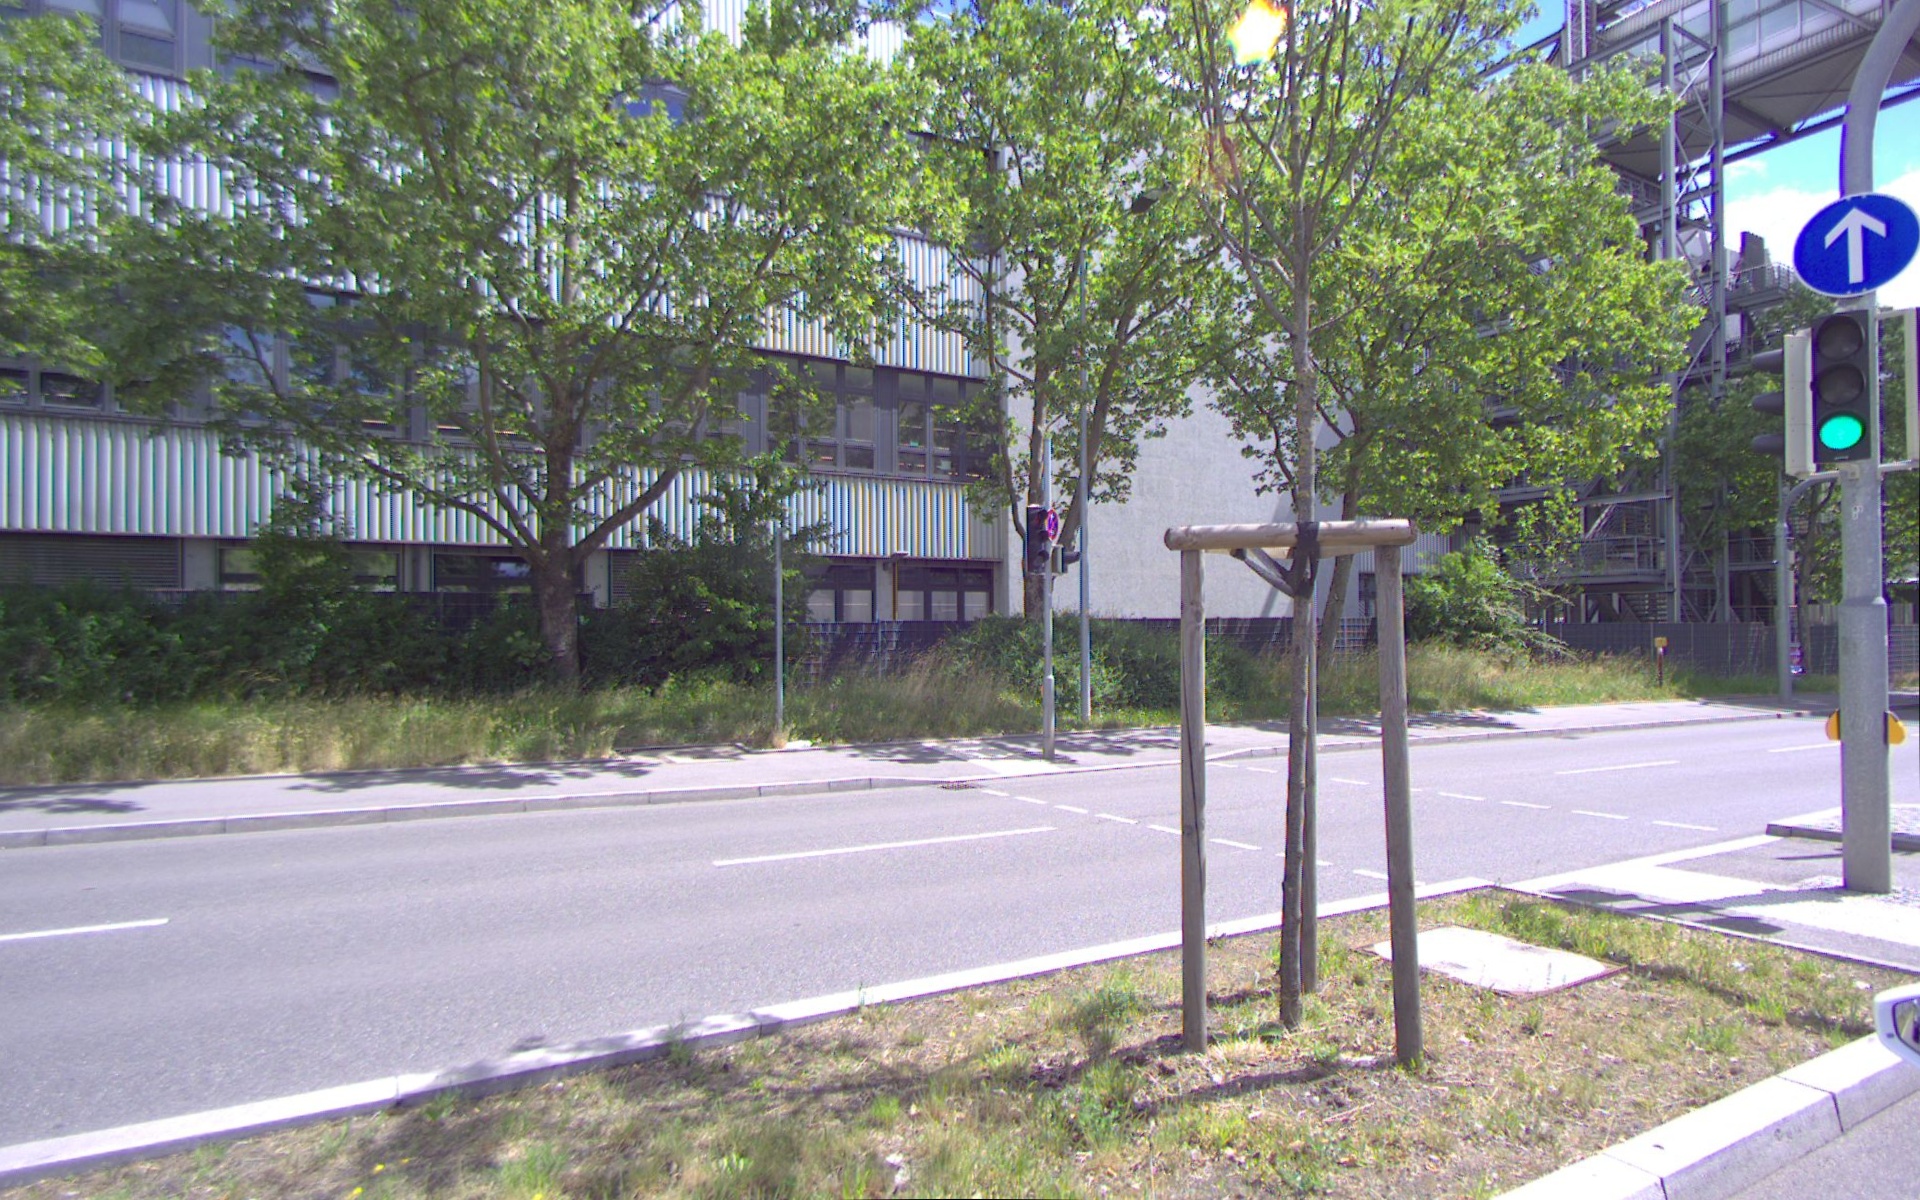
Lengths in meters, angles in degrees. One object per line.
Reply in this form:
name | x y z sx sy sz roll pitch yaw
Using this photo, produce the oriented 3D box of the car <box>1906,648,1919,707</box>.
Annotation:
car | 26.939 2.011 26.228 4.714 1.508 1.909 2 -3 -30
